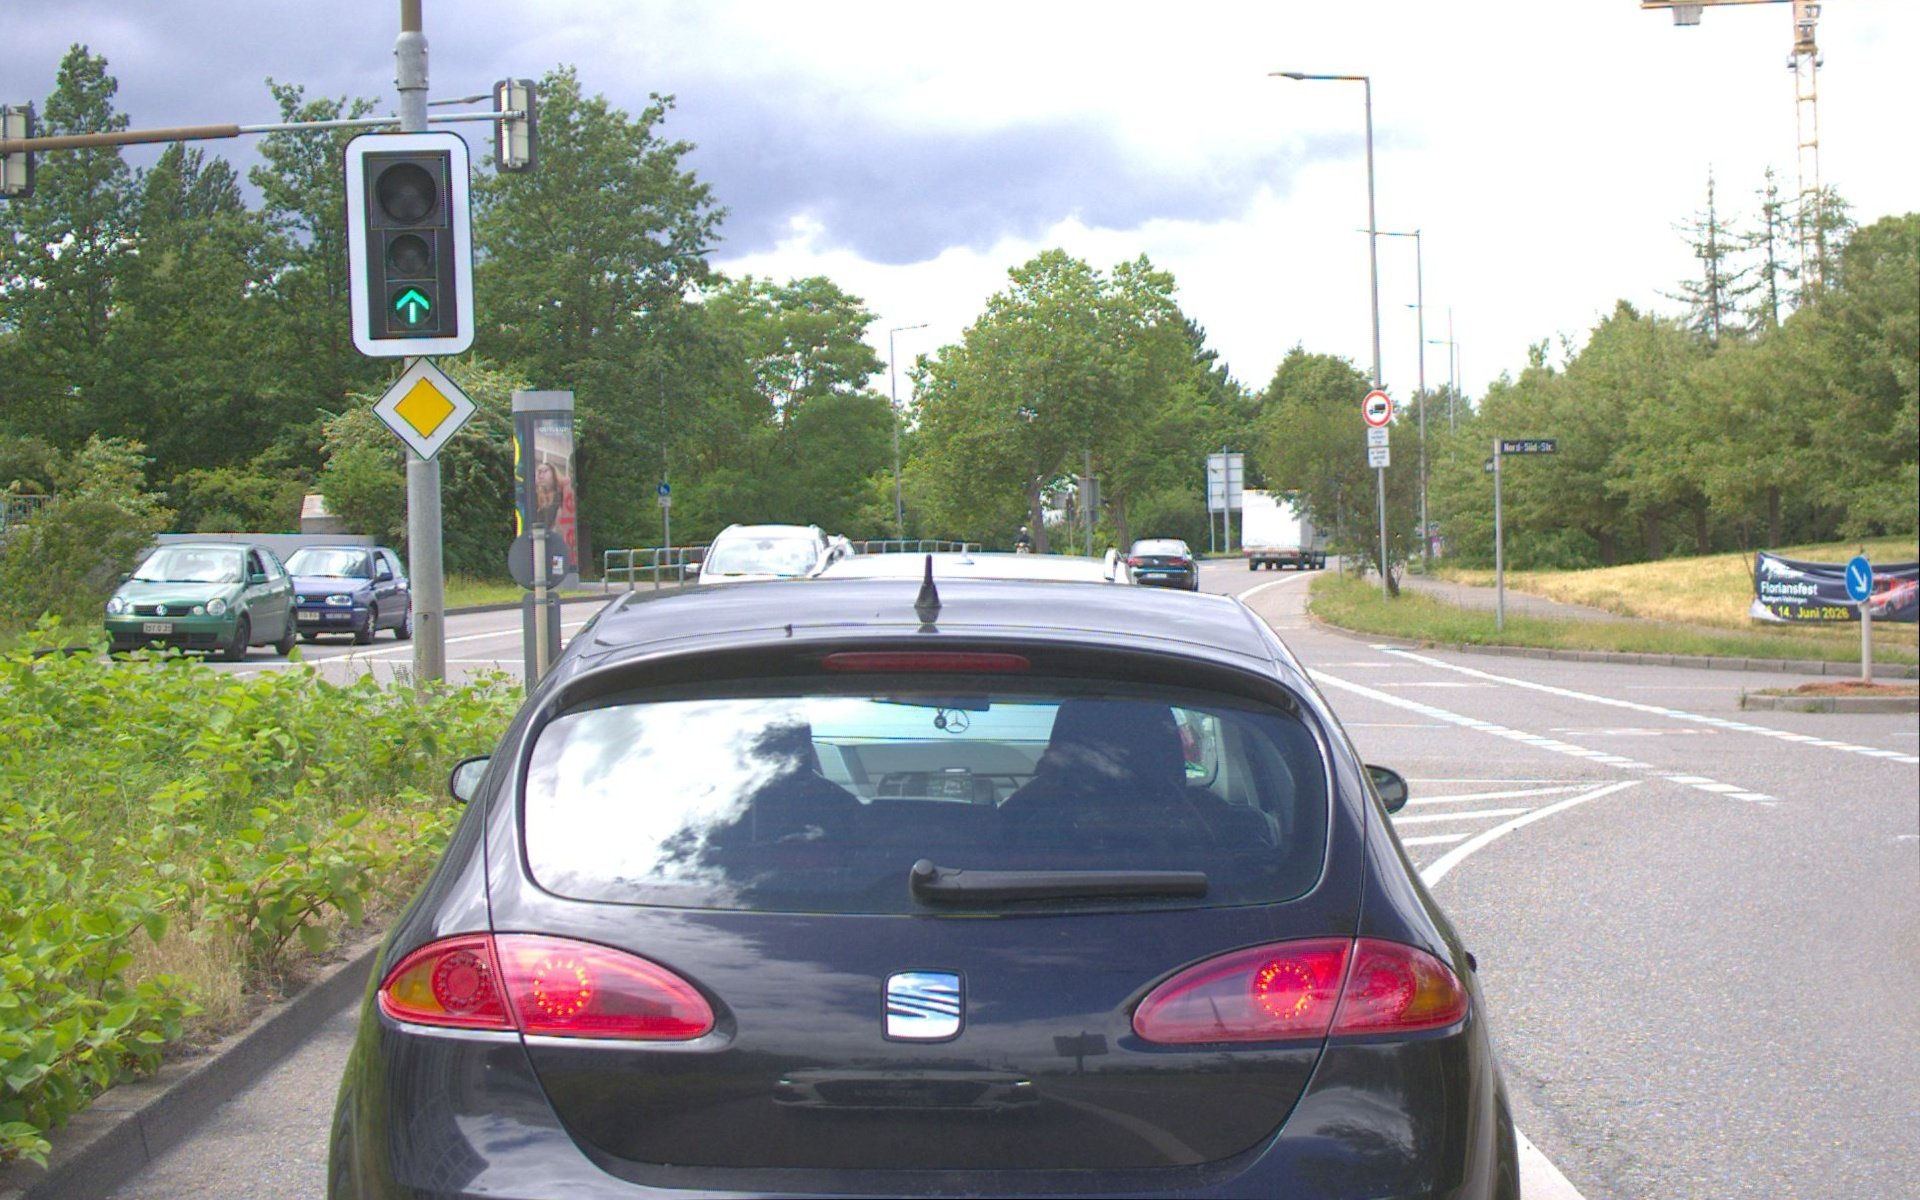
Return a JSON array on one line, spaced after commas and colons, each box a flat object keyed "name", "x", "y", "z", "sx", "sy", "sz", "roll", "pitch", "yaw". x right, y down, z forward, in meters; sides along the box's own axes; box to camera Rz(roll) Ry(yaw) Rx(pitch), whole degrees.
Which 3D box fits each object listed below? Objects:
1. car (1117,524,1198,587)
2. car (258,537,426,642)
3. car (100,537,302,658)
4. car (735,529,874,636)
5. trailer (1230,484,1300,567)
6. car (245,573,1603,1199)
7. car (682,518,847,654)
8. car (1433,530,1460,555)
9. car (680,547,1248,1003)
[{"name": "car", "x": 5.021, "y": -1.152, "z": 87.554, "sx": 1.994, "sy": 1.560, "sz": 4.470, "roll": 0, "pitch": 1, "yaw": 3}, {"name": "car", "x": -8.905, "y": -0.182, "z": 49.787, "sx": 1.554, "sy": 1.414, "sz": 3.895, "roll": 0, "pitch": 1, "yaw": 3}, {"name": "car", "x": -9.430, "y": -0.060, "z": 42.972, "sx": 1.605, "sy": 1.427, "sz": 3.752, "roll": 0, "pitch": 1, "yaw": 2}, {"name": "car", "x": -2.298, "y": -0.292, "z": 51.805, "sx": 1.660, "sy": 1.513, "sz": 4.084, "roll": 1, "pitch": 1, "yaw": 3}, {"name": "trailer", "x": 11.767, "y": -2.835, "z": 132.333, "sx": 2.492, "sy": 3.063, "sz": 5.585, "roll": 1, "pitch": 1, "yaw": 6}, {"name": "car", "x": -0.063, "y": 0.688, "z": 6.084, "sx": 1.711, "sy": 1.412, "sz": 3.459, "roll": 1, "pitch": 1, "yaw": 0}, {"name": "car", "x": -2.551, "y": -0.233, "z": 45.769, "sx": 1.820, "sy": 1.681, "sz": 4.645, "roll": 1, "pitch": 1, "yaw": 1}, {"name": "car", "x": 32.357, "y": -3.815, "z": 228.828, "sx": 1.668, "sy": 1.590, "sz": 3.998, "roll": 1, "pitch": 1, "yaw": 9}, {"name": "car", "x": 0.033, "y": 0.553, "z": 13.110, "sx": 1.834, "sy": 1.462, "sz": 3.751, "roll": 1, "pitch": 1, "yaw": 1}]
